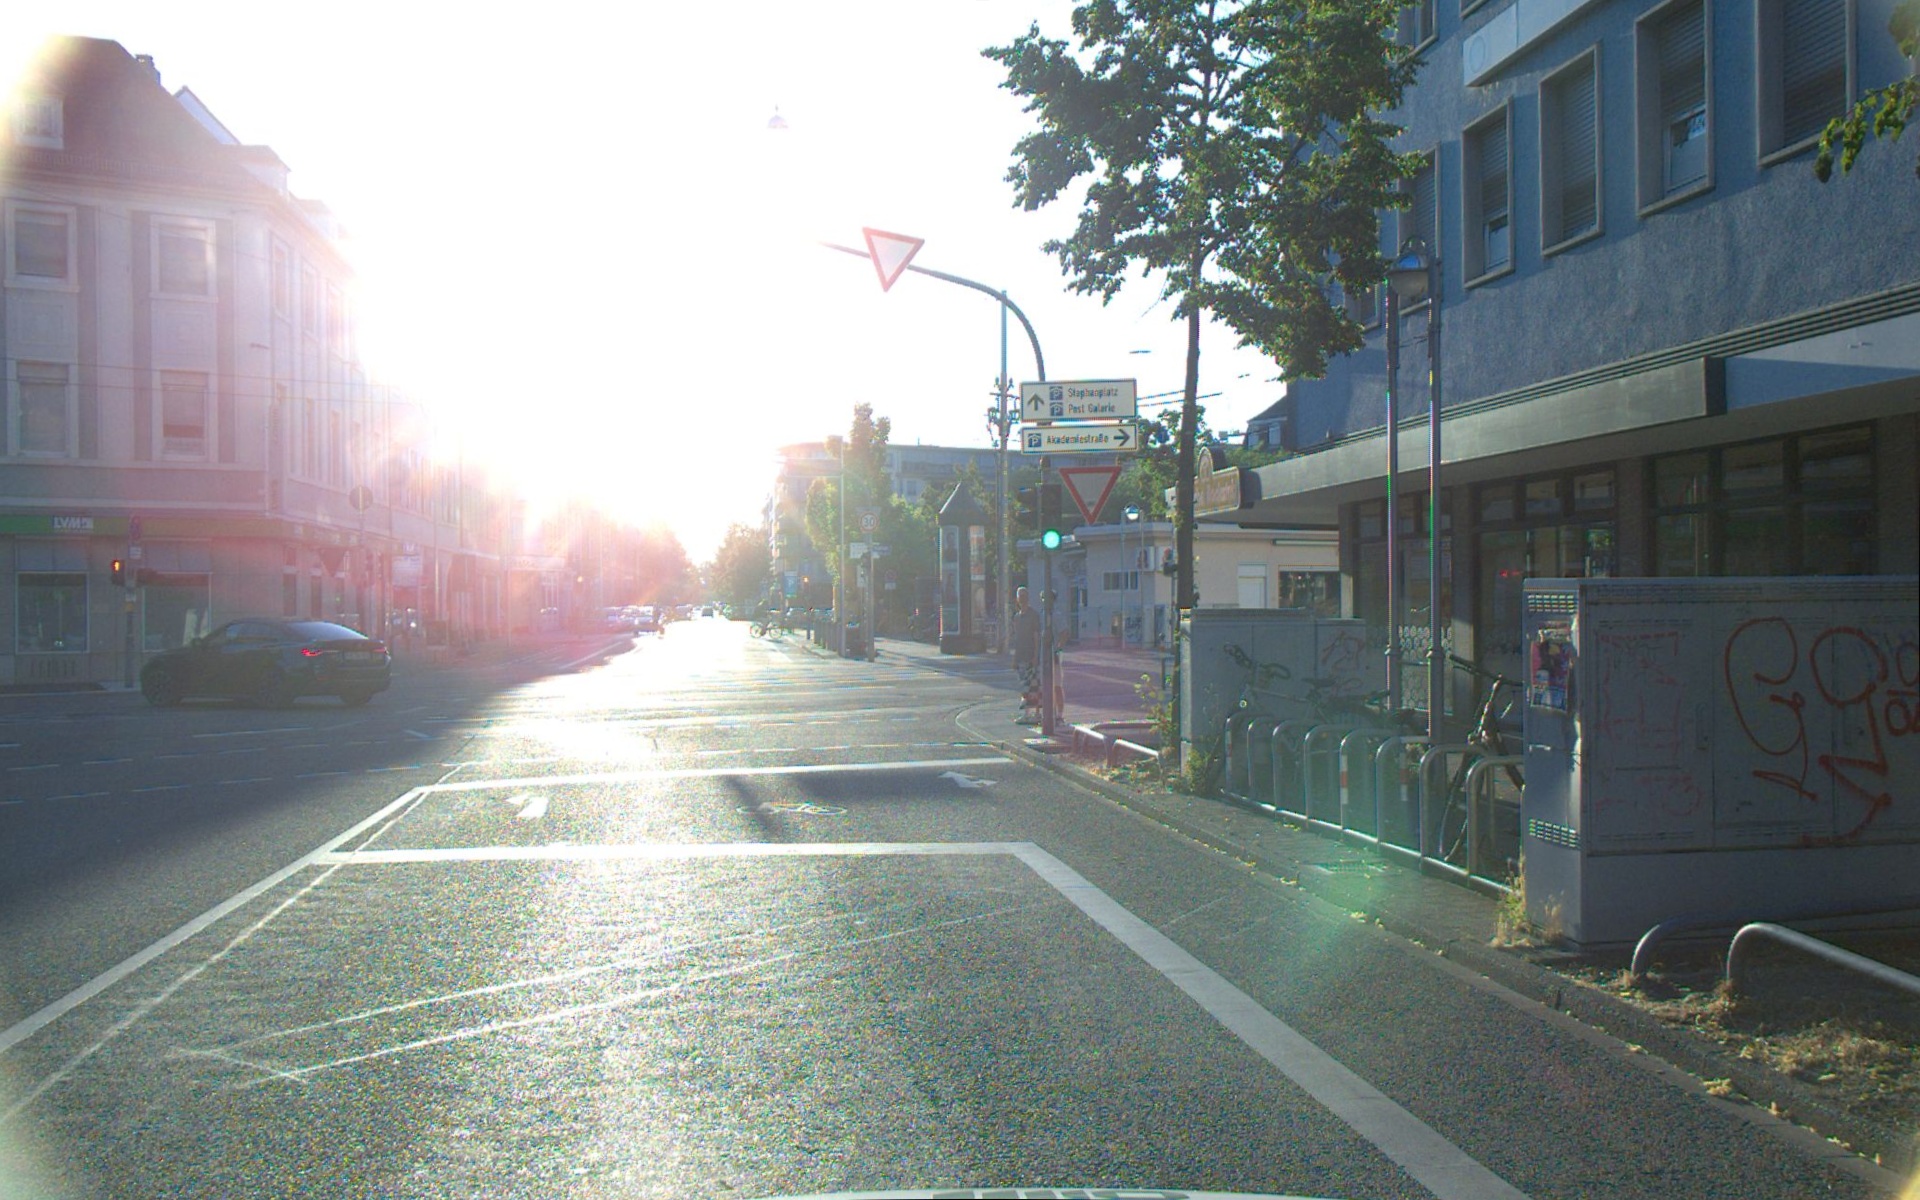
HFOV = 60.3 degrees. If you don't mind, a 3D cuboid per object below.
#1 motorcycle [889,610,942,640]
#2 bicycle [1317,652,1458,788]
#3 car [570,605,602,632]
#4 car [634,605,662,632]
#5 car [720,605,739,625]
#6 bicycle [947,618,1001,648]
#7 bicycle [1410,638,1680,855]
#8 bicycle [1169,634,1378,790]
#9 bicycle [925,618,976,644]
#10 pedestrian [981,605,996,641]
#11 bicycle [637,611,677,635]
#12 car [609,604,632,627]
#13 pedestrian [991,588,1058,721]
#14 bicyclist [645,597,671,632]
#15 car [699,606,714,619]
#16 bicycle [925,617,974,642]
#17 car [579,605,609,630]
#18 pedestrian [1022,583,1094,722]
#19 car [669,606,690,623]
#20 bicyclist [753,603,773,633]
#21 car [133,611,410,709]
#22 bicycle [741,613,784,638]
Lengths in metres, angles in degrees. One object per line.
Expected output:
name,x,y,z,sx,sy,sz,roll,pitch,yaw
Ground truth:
motorcycle,-1.880,1.031,69.088,2.190,1.222,0.720,0,0,-4
bicycle,3.633,0.991,14.172,0.396,1.028,1.664,-2,0,-14
car,-21.470,1.045,95.041,1.516,1.510,3.344,-1,0,-9
car,-17.879,1.068,94.911,1.516,1.493,3.344,0,-1,-9
car,-24.408,1.578,174.947,1.956,2.049,3.992,1,-1,-8
bicycle,0.512,1.197,60.402,1.979,1.062,0.560,0,-1,-1
bicycle,3.546,0.850,10.013,1.633,1.215,0.491,0,0,-22
bicycle,2.551,0.893,13.478,1.629,1.215,0.476,0,0,-14
bicycle,-0.378,1.245,66.016,2.035,0.999,0.560,0,-1,-1
pedestrian,1.388,1.112,79.847,0.667,1.686,0.695,1,-1,-1
bicycle,-16.120,1.234,87.977,2.072,1.225,0.500,1,-1,13
car,-23.799,1.072,116.012,1.455,1.586,3.251,0,-1,-9
pedestrian,0.891,0.739,22.847,0.581,1.804,0.739,0,-1,-40
bicyclist,-16.057,0.777,87.988,1.105,1.822,0.765,1,-1,13
car,-36.790,1.780,240.392,1.955,1.848,3.994,1,-1,-7
bicycle,-0.416,1.206,67.603,1.996,0.994,0.560,0,-1,-1
car,-21.829,1.056,98.666,1.516,1.495,3.344,0,-1,-9
pedestrian,1.300,0.682,21.997,0.630,1.804,0.742,-1,0,-29
car,-29.472,1.497,173.846,1.955,1.713,3.994,-1,0,-7
bicyclist,-10.004,0.921,83.976,0.880,1.507,0.735,1,-1,4
car,-11.395,1.007,27.319,4.442,1.506,1.893,-2,-2,29
bicycle,-10.009,1.303,83.946,2.073,1.225,0.500,1,-1,3
